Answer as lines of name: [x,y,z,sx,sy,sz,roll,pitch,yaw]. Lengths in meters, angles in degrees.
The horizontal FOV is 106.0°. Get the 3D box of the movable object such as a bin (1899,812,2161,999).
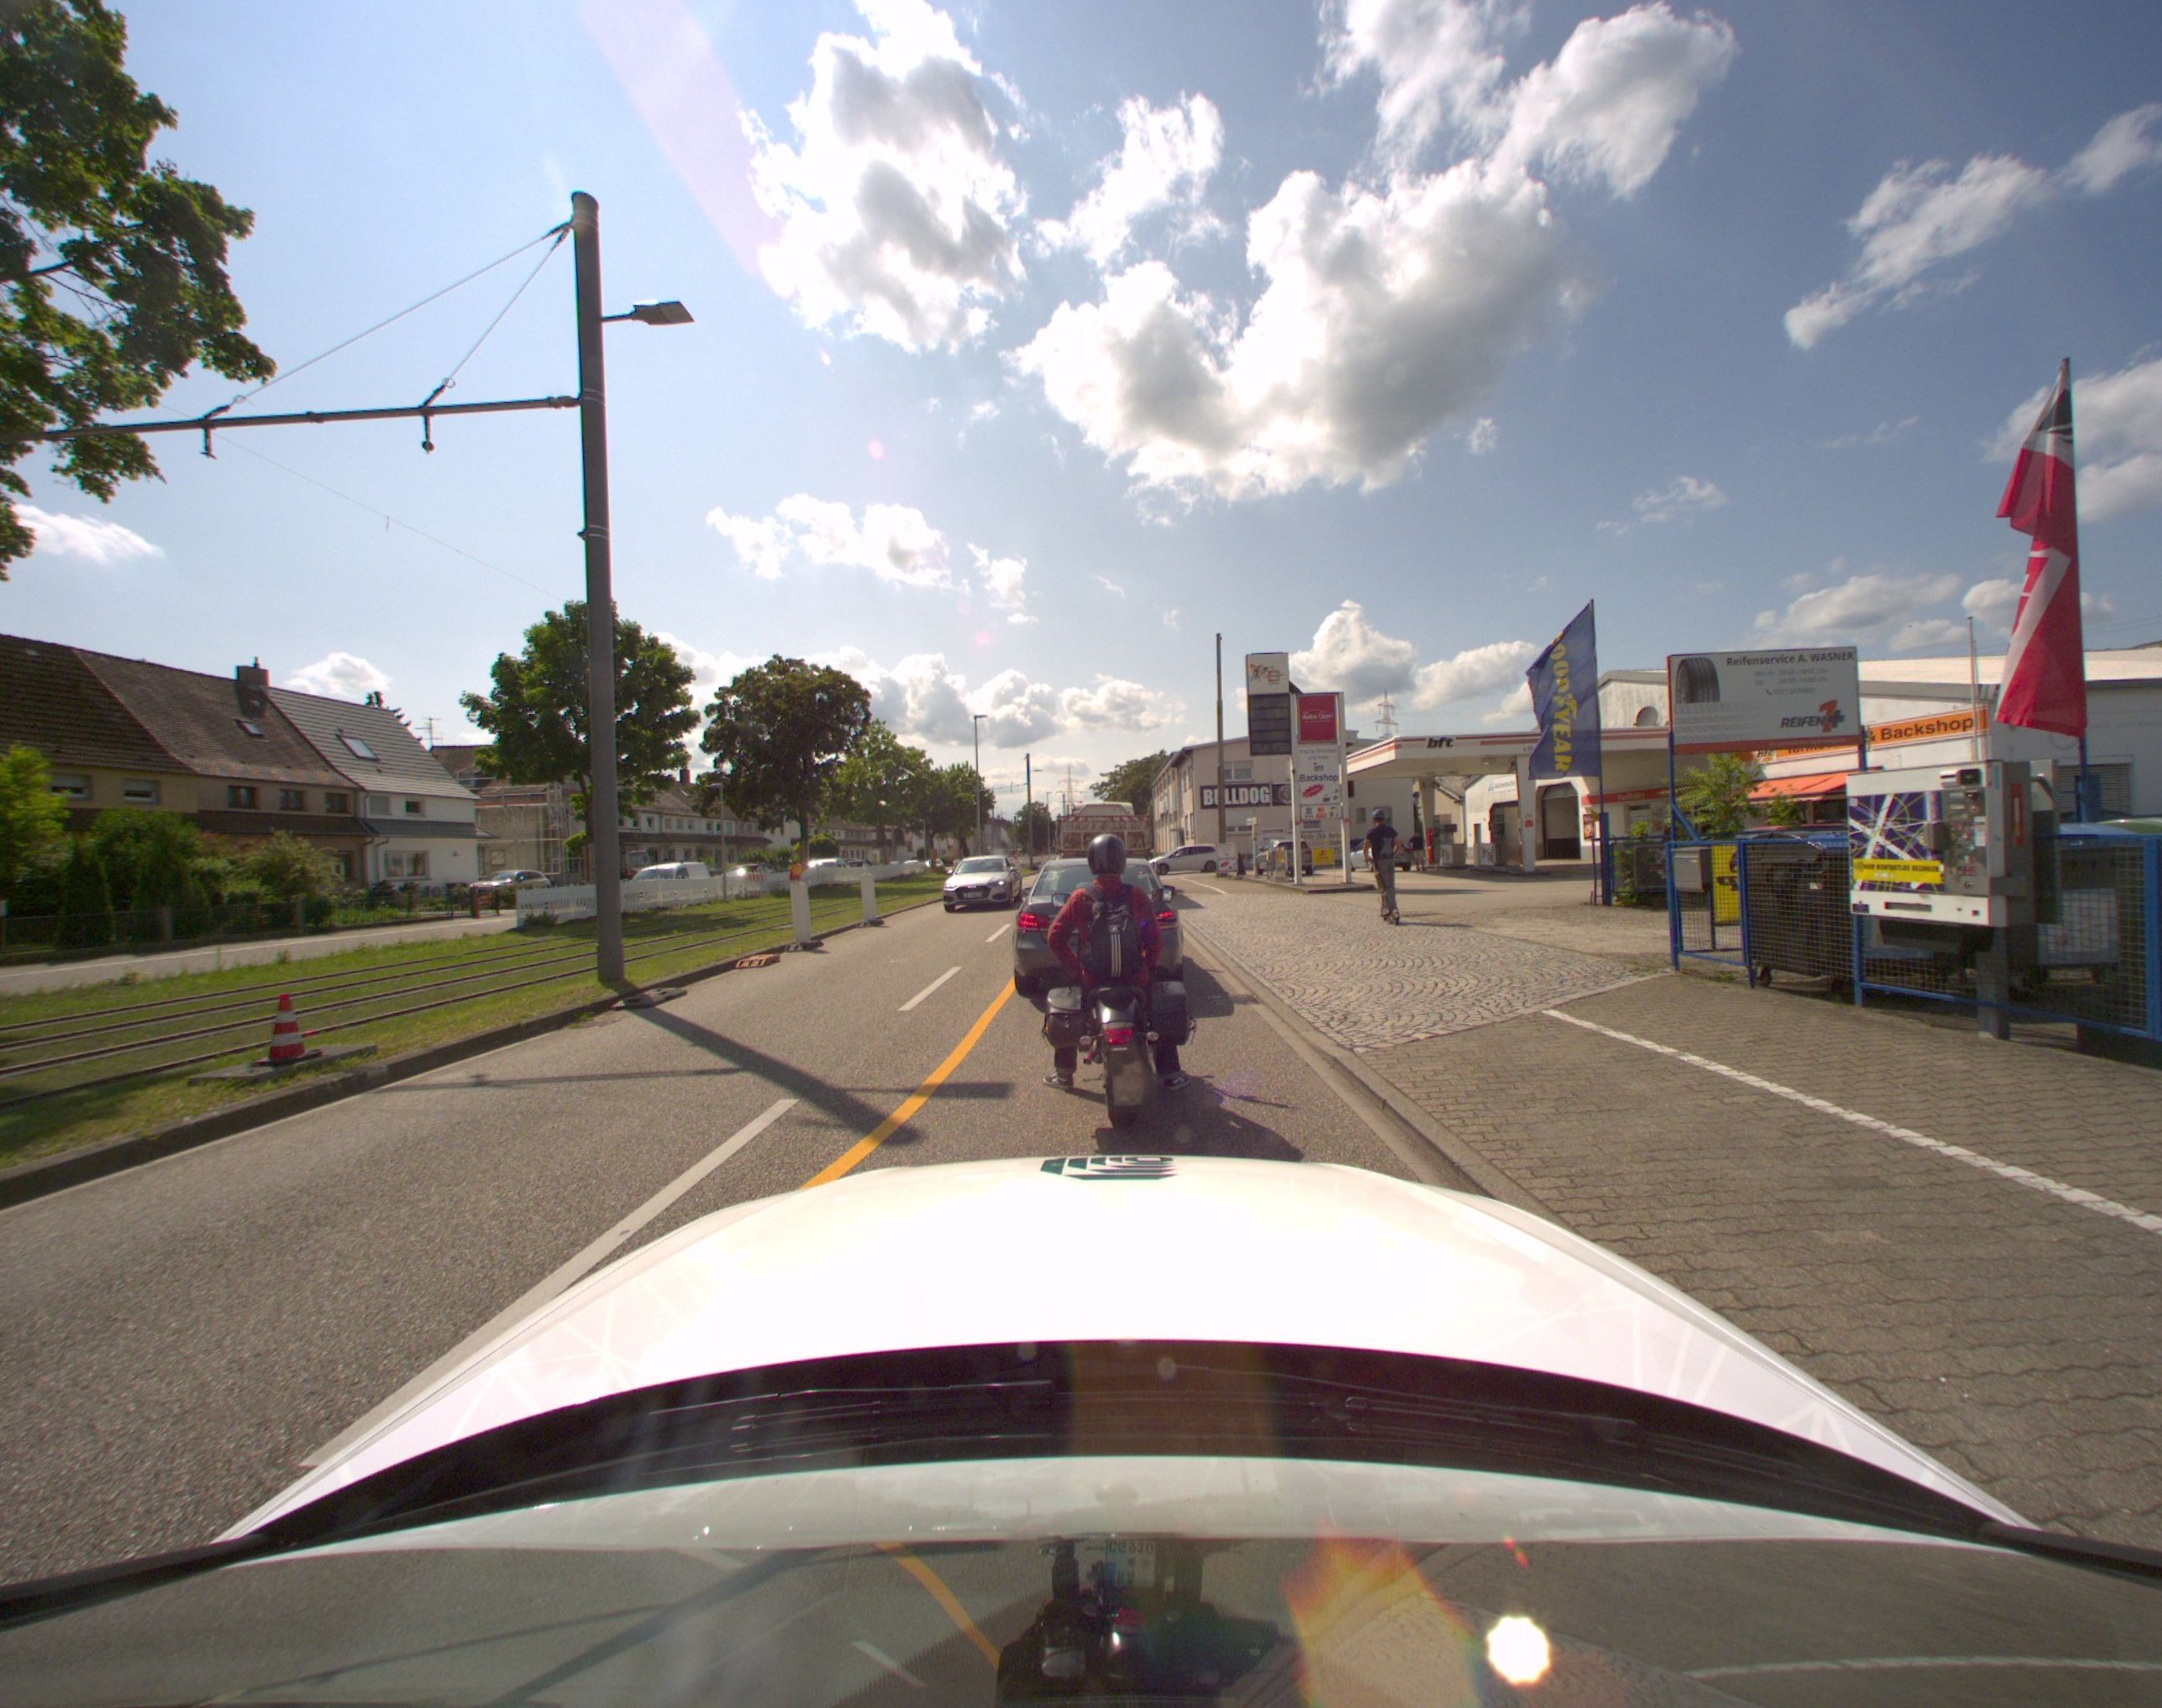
movable object such as a bin: [8.126,0.421,7.008,1.251,1.444,0.824,-3,-1,2]

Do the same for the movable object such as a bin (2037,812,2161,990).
movable object such as a bin: [9.448,0.361,7.008,1.318,1.444,0.953,-3,-1,-6]

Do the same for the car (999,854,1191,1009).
car: [0.196,0.749,9.848,1.815,1.424,4.002,-2,0,2]

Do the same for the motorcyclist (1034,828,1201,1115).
motorcyclist: [0.225,0.661,5.190,0.936,1.615,1.205,0,0,1]

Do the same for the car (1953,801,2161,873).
car: [21.862,-0.373,17.935,3.483,1.360,1.612,-3,-1,1]

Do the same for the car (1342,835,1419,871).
car: [13.570,-0.033,37.107,1.953,1.420,3.999,-3,0,0]

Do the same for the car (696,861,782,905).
car: [-15.257,1.239,36.610,1.986,1.750,4.001,-3,0,2]

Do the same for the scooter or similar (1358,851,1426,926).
scooter or similar: [5.299,0.564,13.958,0.538,1.195,1.611,-3,-1,1]

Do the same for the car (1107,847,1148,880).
car: [2.194,0.419,39.022,1.814,1.464,4.002,-2,0,2]

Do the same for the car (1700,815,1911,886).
car: [16.457,-0.068,18.615,3.308,1.360,1.612,-3,-1,1]

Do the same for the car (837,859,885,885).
car: [-14.953,1.189,55.636,1.986,1.606,4.001,-3,0,2]

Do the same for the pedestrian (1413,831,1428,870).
pedestrian: [14.764,-0.147,35.440,0.395,1.689,0.486,-3,-1,3]

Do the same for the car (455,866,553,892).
car: [-27.319,1.153,38.733,1.678,1.052,3.982,-3,0,2]

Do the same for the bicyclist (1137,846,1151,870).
bicyclist: [4.693,0.323,60.852,0.665,1.744,0.818,-2,0,28]

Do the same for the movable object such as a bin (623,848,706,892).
movable object such as a bin: [-26.069,0.975,51.087,4.351,2.449,1.776,-3,0,-21]

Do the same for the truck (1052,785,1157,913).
truck: [0.817,-0.238,26.183,2.600,3.255,9.188,-3,1,2]

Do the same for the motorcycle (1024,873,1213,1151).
motorcycle: [0.228,0.814,5.371,0.936,1.320,2.646,0,0,2]

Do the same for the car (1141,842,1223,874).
car: [5.810,0.237,47.222,4.326,1.551,1.945,-3,-1,-7]

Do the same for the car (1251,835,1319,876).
car: [9.053,0.080,36.480,1.953,1.648,3.999,-3,0,0]

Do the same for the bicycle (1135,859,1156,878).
bicycle: [4.858,1.079,61.042,0.686,1.361,2.433,-3,0,26]

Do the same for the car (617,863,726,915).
car: [-15.534,1.278,31.173,1.986,1.750,4.001,-3,0,2]

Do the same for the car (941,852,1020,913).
car: [-2.744,0.729,23.153,1.649,1.447,4.302,-3,0,0]

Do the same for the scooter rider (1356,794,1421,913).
scooter rider: [5.270,-0.008,14.004,0.714,1.963,0.785,-3,-1,1]

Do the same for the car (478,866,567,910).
car: [-24.392,1.466,35.678,1.678,1.722,3.031,-3,-1,2]

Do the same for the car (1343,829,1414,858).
car: [19.738,-0.686,54.098,3.973,1.648,1.966,-3,-1,1]

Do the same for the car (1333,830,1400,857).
car: [19.812,-0.693,56.644,3.973,1.648,1.966,-3,-1,1]

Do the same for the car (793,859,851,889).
car: [-15.187,1.143,47.991,1.986,1.606,4.001,-3,0,2]

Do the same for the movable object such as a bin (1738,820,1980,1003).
movable object such as a bin: [6.759,0.477,7.146,1.251,1.444,0.824,-3,-1,2]

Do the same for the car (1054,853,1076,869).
car: [-1.524,0.671,78.145,1.840,1.386,4.345,-3,0,1]

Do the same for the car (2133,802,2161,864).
car: [26.374,-0.581,17.987,3.992,1.388,1.613,-3,-1,3]
